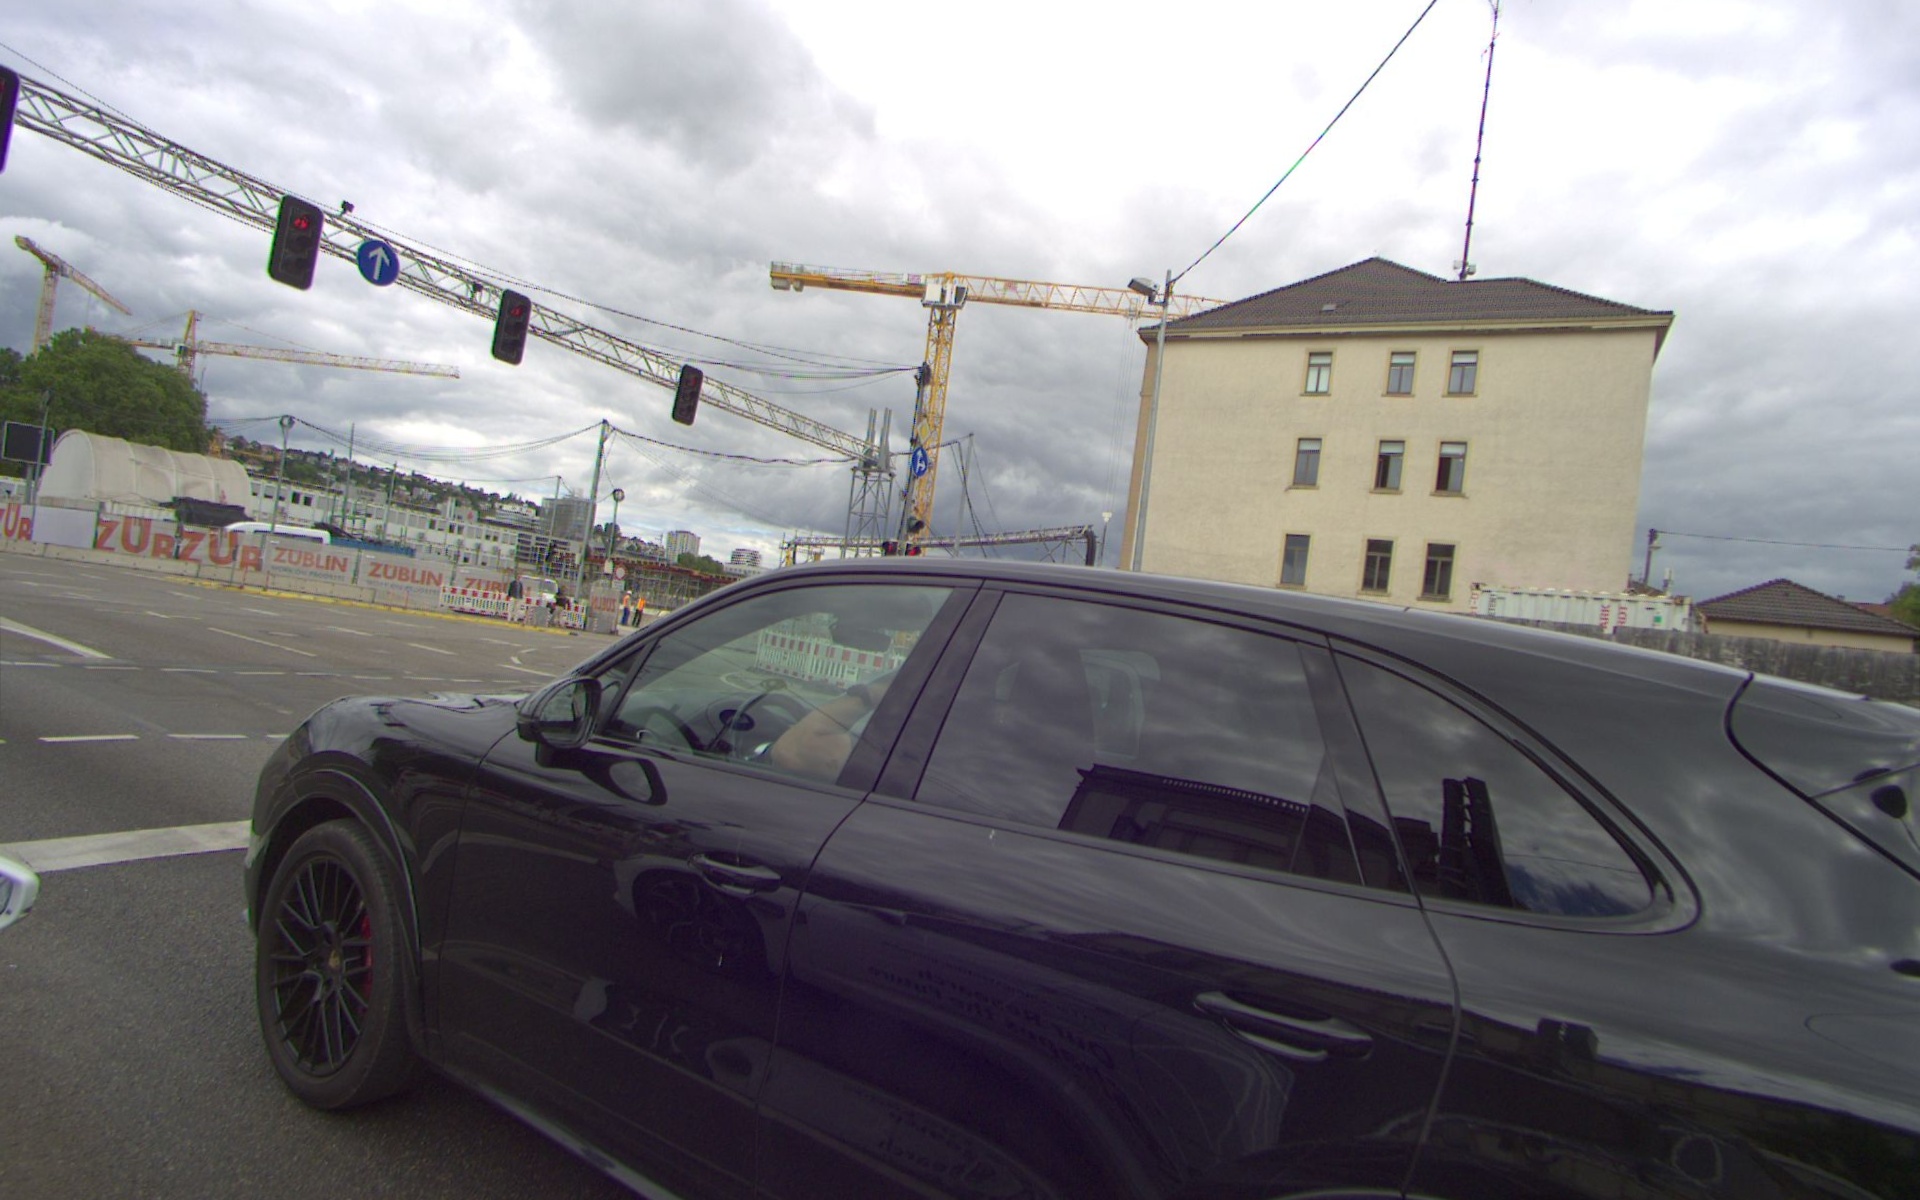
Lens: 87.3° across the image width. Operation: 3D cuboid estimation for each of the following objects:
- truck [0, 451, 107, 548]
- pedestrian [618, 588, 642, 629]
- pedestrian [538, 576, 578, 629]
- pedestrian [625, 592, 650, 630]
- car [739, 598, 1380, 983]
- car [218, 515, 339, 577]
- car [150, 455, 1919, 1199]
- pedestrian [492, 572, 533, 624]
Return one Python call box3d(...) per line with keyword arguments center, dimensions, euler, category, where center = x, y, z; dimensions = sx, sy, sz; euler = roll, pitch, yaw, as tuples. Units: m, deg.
box3d(center=(-57.716, -6.341, 60.223), dimensions=(3.054, 5.017, 9.759), euler=(7, -2, 14), category="truck")
box3d(center=(-17.641, 0.449, 53.822), dimensions=(0.855, 2.037, 0.677), euler=(6, -1, 44), category="pedestrian")
box3d(center=(-16.641, 0.108, 41.645), dimensions=(1.016, 2.037, 1.046), euler=(7, -1, -4), category="pedestrian")
box3d(center=(-17.497, 0.600, 54.646), dimensions=(0.850, 1.938, 0.680), euler=(7, -1, 26), category="pedestrian")
box3d(center=(0.577, 0.997, 6.548), dimensions=(3.587, 1.527, 1.825), euler=(6, -2, 33), category="car")
box3d(center=(-29.525, -2.325, 43.641), dimensions=(3.976, 2.037, 1.976), euler=(9, -2, -43), category="car")
box3d(center=(-0.004, 0.688, 2.712), dimensions=(4.505, 1.687, 1.997), euler=(6, -2, 34), category="car")
box3d(center=(-17.442, -0.067, 39.206), dimensions=(1.040, 1.869, 0.781), euler=(8, -1, -42), category="pedestrian")
